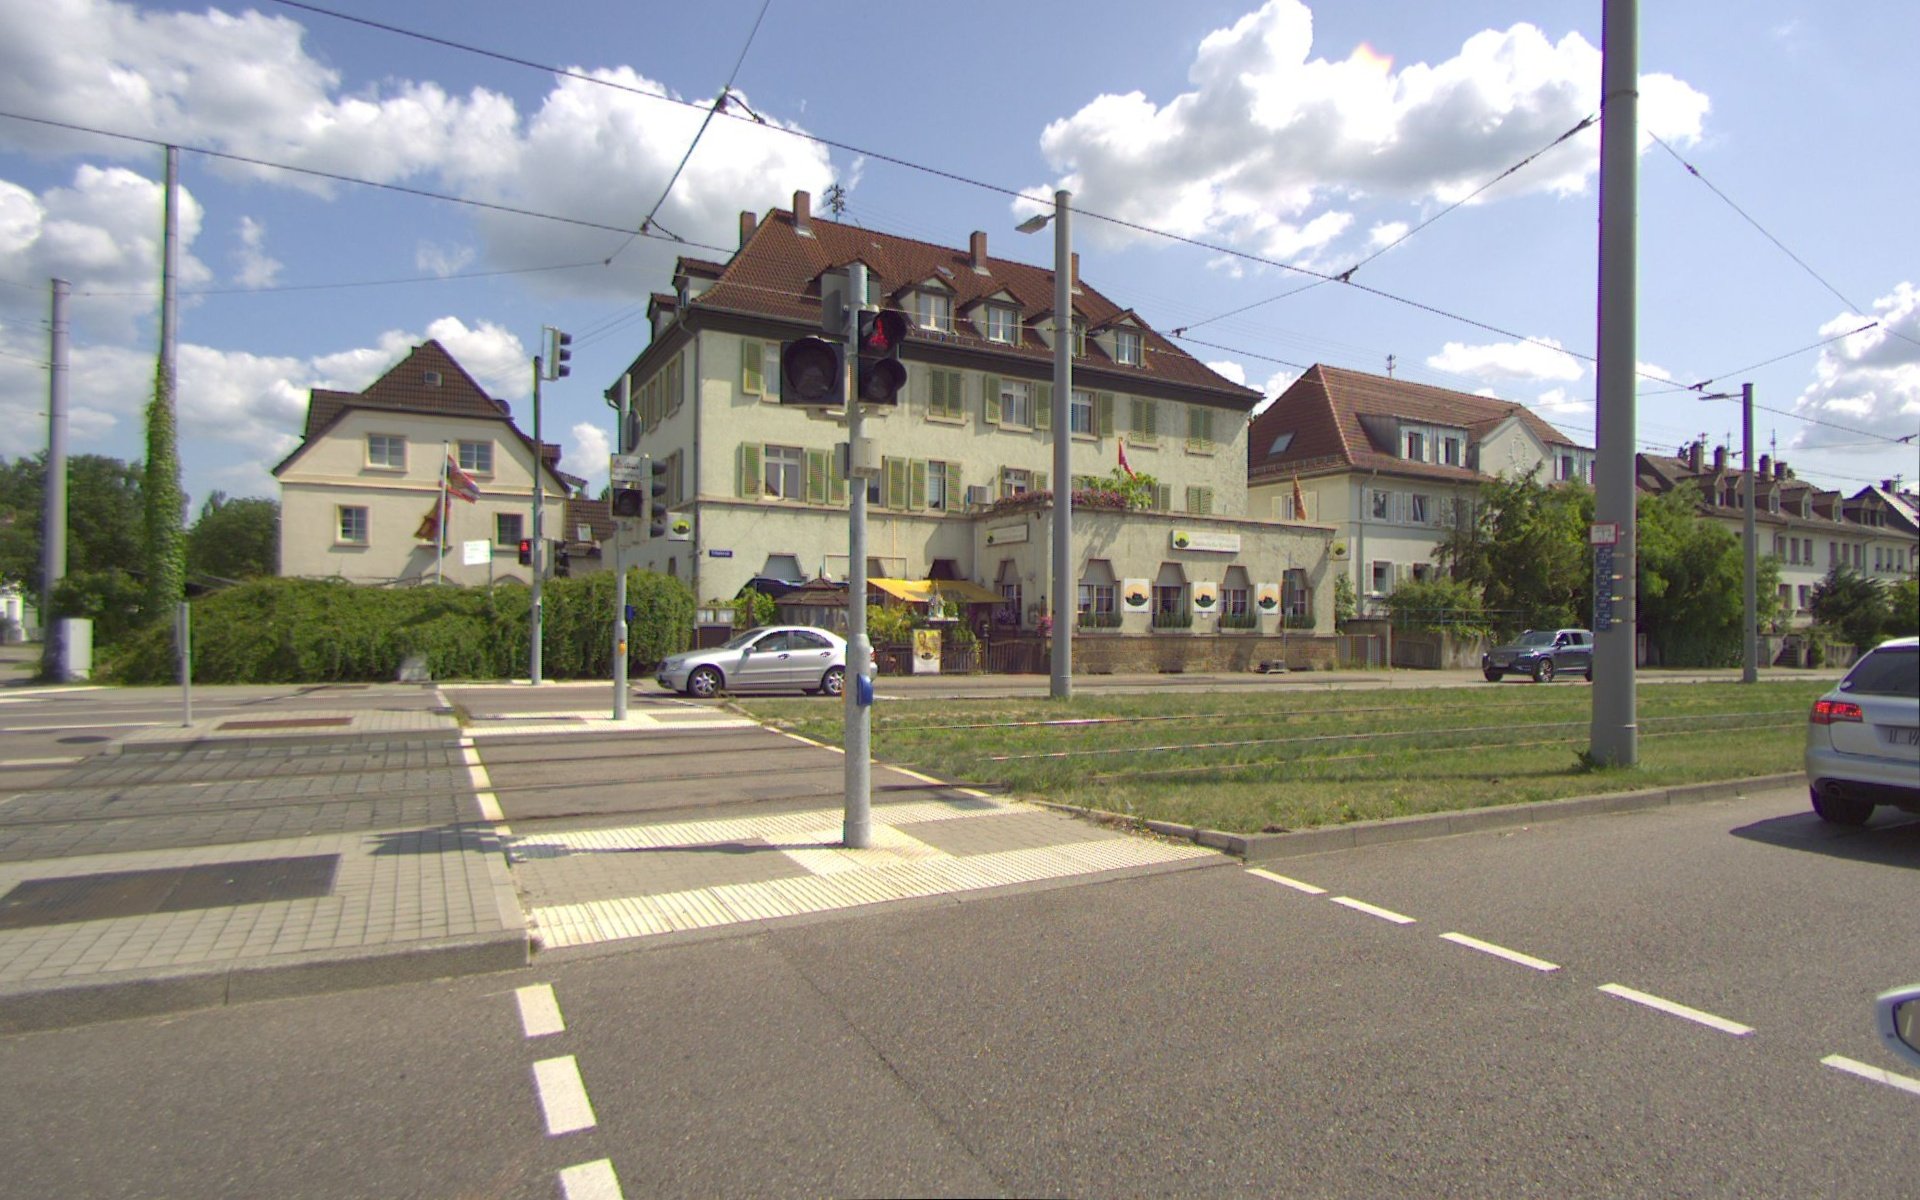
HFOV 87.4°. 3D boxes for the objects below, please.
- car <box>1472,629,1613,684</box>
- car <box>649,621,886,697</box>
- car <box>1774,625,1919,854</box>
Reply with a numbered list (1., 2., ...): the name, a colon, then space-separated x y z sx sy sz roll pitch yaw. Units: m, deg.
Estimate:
1. car: 19.651 1.887 33.841 4.880 1.734 2.005 2 -2 -31
2. car: -3.870 1.181 20.387 4.417 1.405 1.787 2 -2 -29
3. car: 8.409 0.979 7.771 4.667 1.491 1.786 1 0 -31
